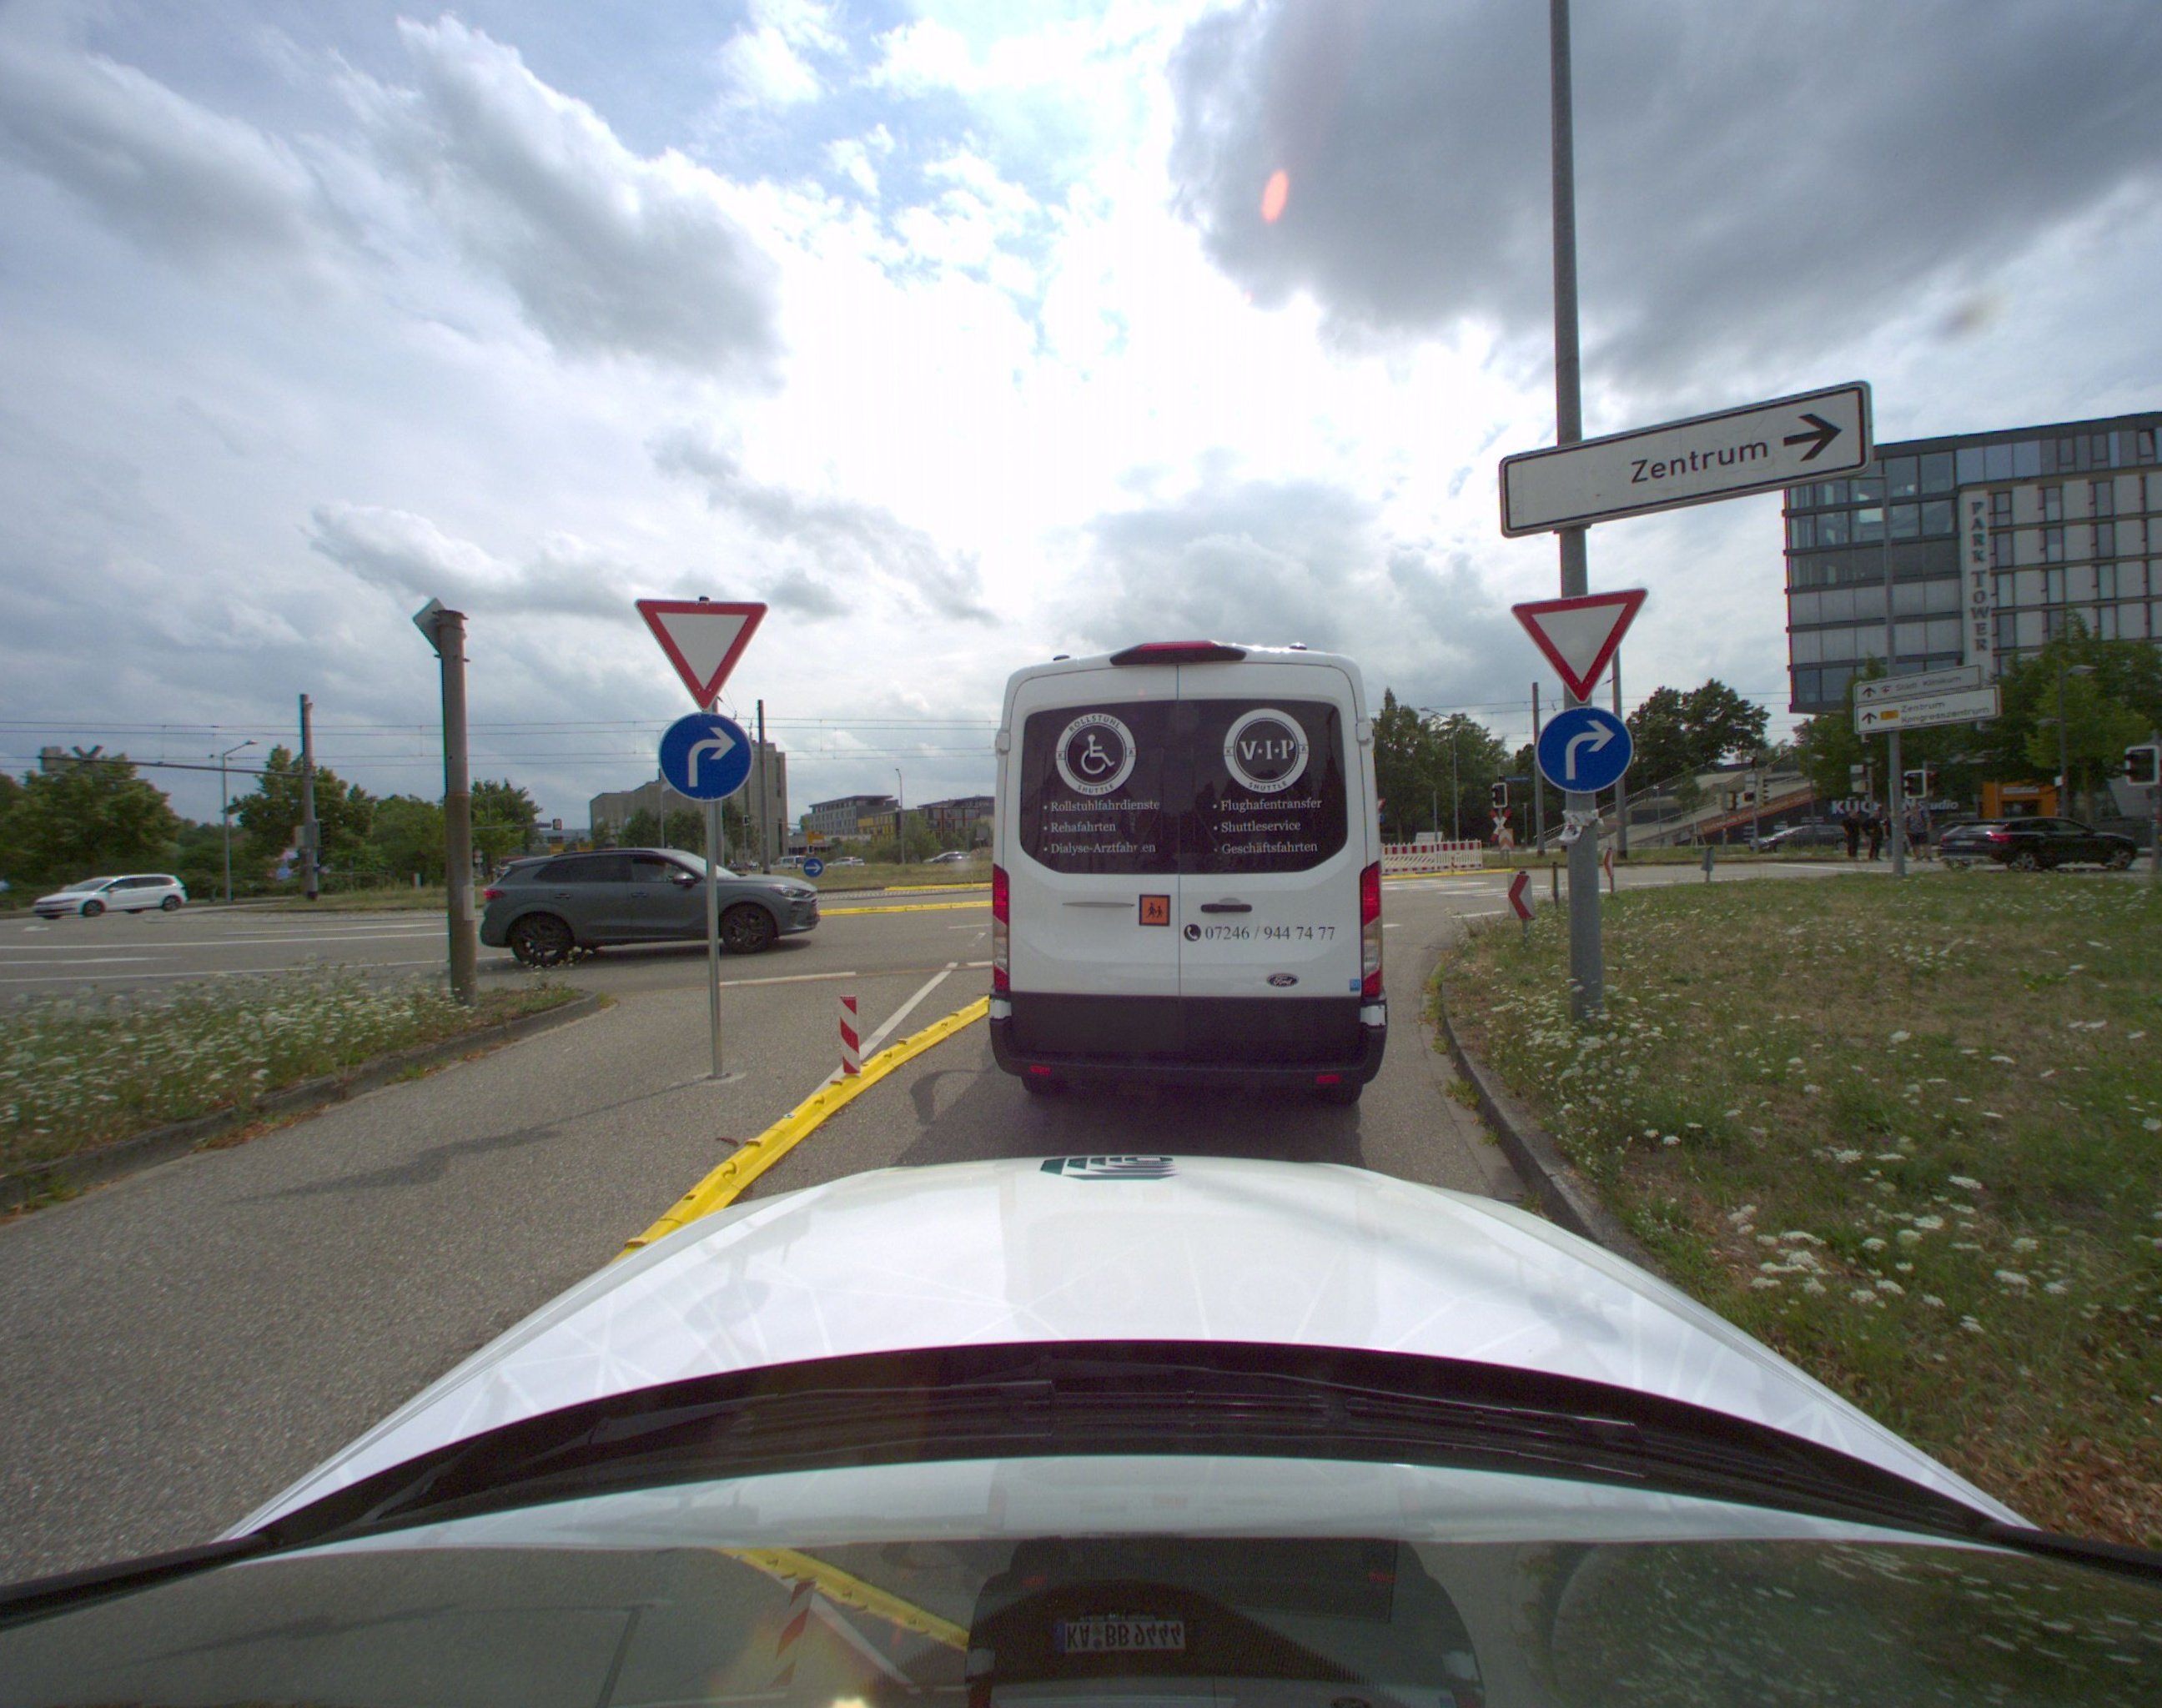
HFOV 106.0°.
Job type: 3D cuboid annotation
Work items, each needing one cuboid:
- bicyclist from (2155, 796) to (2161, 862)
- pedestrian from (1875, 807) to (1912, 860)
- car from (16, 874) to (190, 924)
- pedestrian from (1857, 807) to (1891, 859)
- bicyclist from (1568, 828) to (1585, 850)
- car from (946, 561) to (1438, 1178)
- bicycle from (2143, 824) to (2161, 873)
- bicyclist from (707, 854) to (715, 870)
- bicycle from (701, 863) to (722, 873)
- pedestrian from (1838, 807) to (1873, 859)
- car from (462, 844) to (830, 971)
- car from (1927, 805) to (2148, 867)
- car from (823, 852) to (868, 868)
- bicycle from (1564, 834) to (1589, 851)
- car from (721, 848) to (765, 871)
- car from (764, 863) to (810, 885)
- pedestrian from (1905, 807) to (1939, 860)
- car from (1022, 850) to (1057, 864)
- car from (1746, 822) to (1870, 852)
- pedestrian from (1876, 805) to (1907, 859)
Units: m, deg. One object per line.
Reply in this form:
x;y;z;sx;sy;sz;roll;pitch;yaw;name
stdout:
26.750;-0.615;19.637;0.781;1.627;1.056;-2;0;41;bicyclist
28.012;-0.711;28.083;0.684;1.781;0.554;-2;1;6;pedestrian
-41.086;1.831;34.398;1.925;1.665;4.357;-3;2;1;car
27.929;-0.745;28.698;0.628;1.781;0.554;-2;1;6;pedestrian
30.623;-0.948;50.305;0.635;1.317;0.676;-2;1;5;bicyclist
0.834;0.073;6.475;2.114;2.697;5.644;-2;0;7;car
26.911;-0.141;19.871;0.781;1.168;2.054;-2;0;40;bicycle
-37.975;0.801;83.486;0.650;1.558;0.527;-2;0;-19;bicyclist
-37.867;1.413;83.507;1.834;0.877;0.527;-2;0;-19;bicycle
27.208;-0.728;28.618;0.684;1.781;0.554;-2;1;6;pedestrian
-6.284;0.704;12.398;4.464;1.551;2.056;-2;1;-12;car
26.390;-0.491;22.571;4.120;1.519;1.741;-2;1;0;car
-23.499;0.631;81.231;3.952;1.463;1.843;-1;-1;23;car
30.639;-0.689;50.387;0.649;1.007;1.759;-2;1;6;bicycle
-31.111;0.510;74.932;3.948;2.014;2.013;-2;-1;36;car
-28.530;1.937;79.065;4.305;2.014;2.013;-2;-1;32;car
28.720;-0.689;27.812;0.575;1.781;0.554;-2;1;6;pedestrian
-4.423;0.291;87.658;1.810;1.463;4.025;-2;0;30;car
39.008;-0.899;43.829;4.689;1.458;1.855;-2;1;13;car
28.558;-0.785;28.697;0.527;1.862;0.554;-2;1;6;pedestrian
